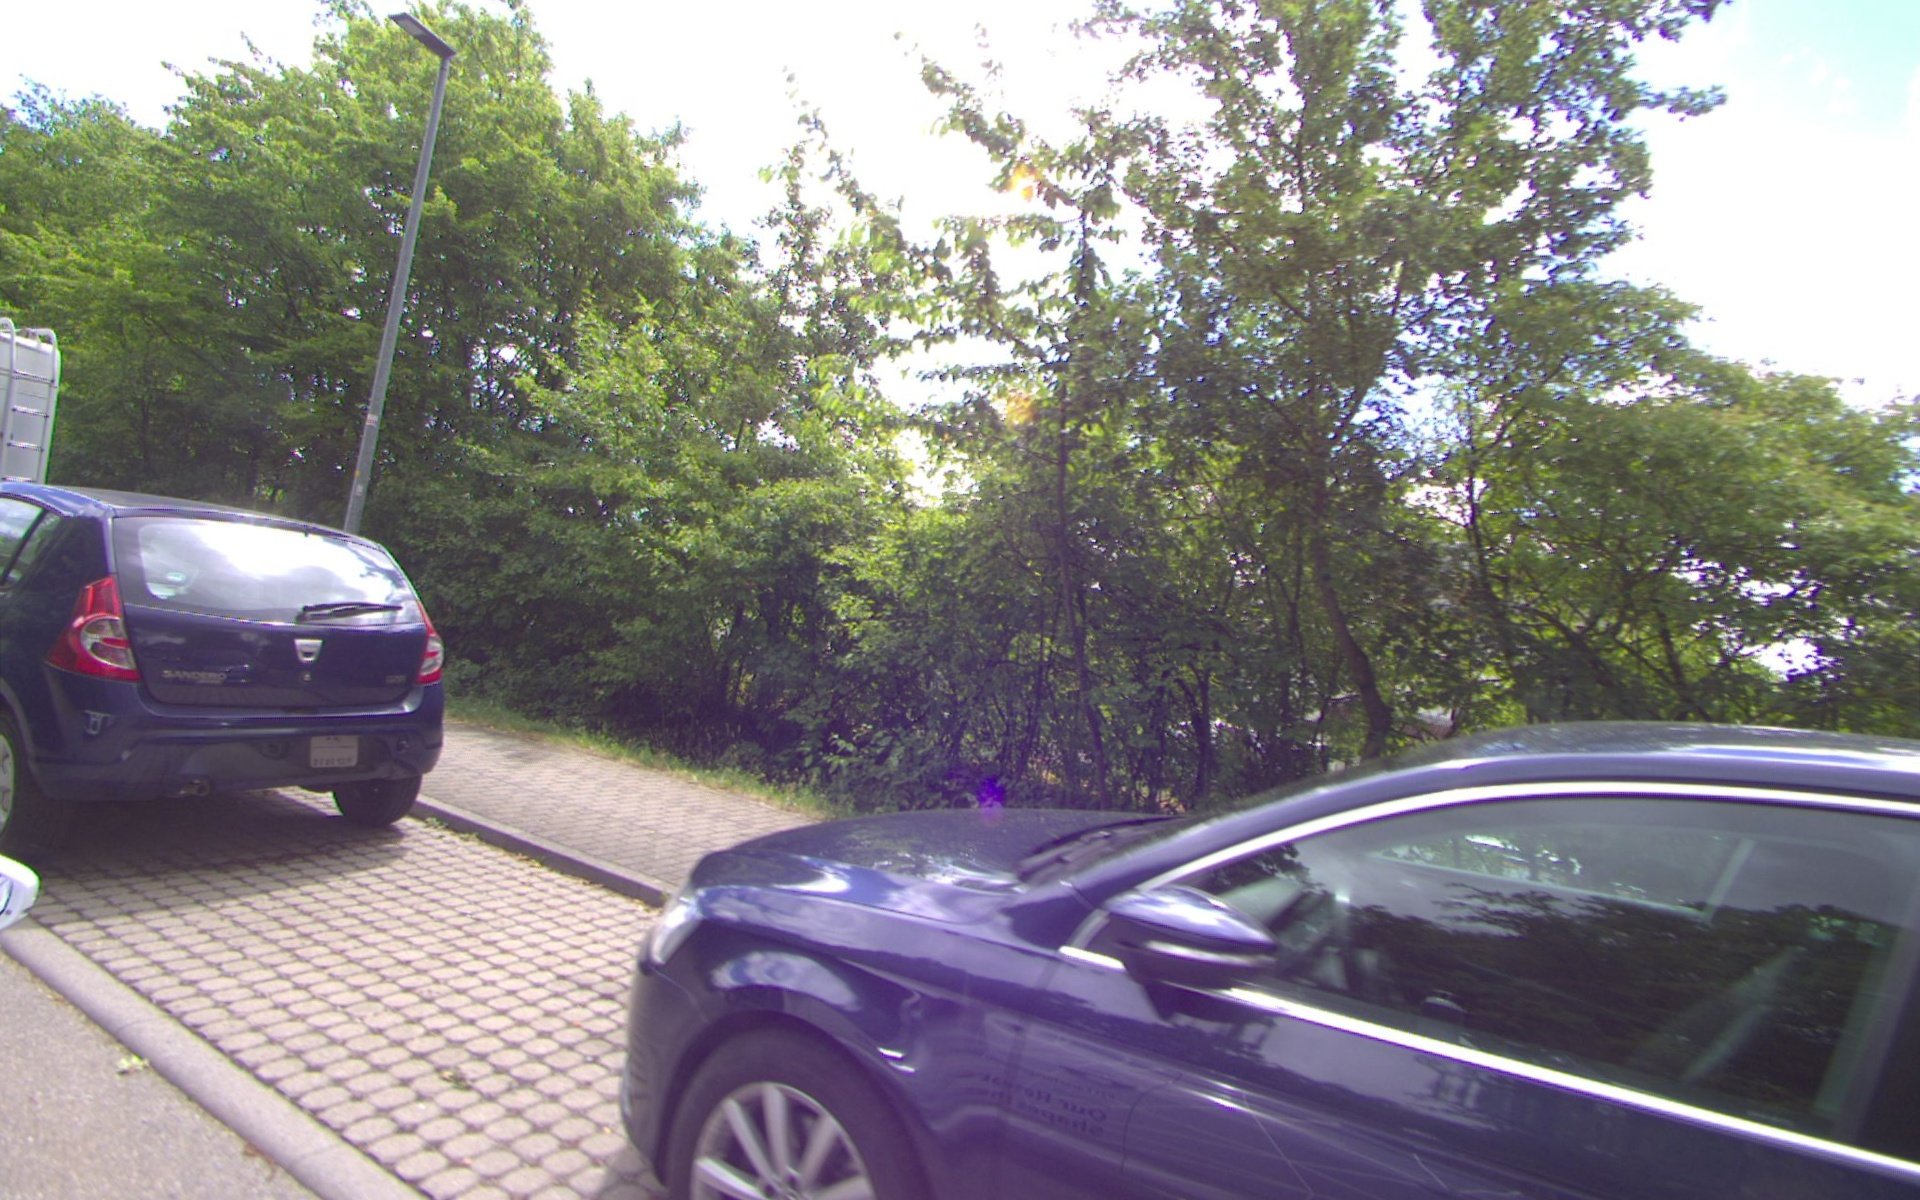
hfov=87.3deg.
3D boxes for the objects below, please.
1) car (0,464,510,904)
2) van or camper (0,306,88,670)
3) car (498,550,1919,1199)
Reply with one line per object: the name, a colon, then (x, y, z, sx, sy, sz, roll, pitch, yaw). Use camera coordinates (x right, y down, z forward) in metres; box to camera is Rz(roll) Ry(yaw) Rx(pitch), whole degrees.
car: (-4.426, 0.197, 5.203, 3.822, 1.537, 1.733, 6, -1, 28)
van or camper: (-10.775, -1.317, 8.901, 6.043, 2.901, 2.340, 7, -2, 28)
car: (1.305, 0.912, 1.855, 4.262, 1.451, 1.778, 7, -1, 32)
